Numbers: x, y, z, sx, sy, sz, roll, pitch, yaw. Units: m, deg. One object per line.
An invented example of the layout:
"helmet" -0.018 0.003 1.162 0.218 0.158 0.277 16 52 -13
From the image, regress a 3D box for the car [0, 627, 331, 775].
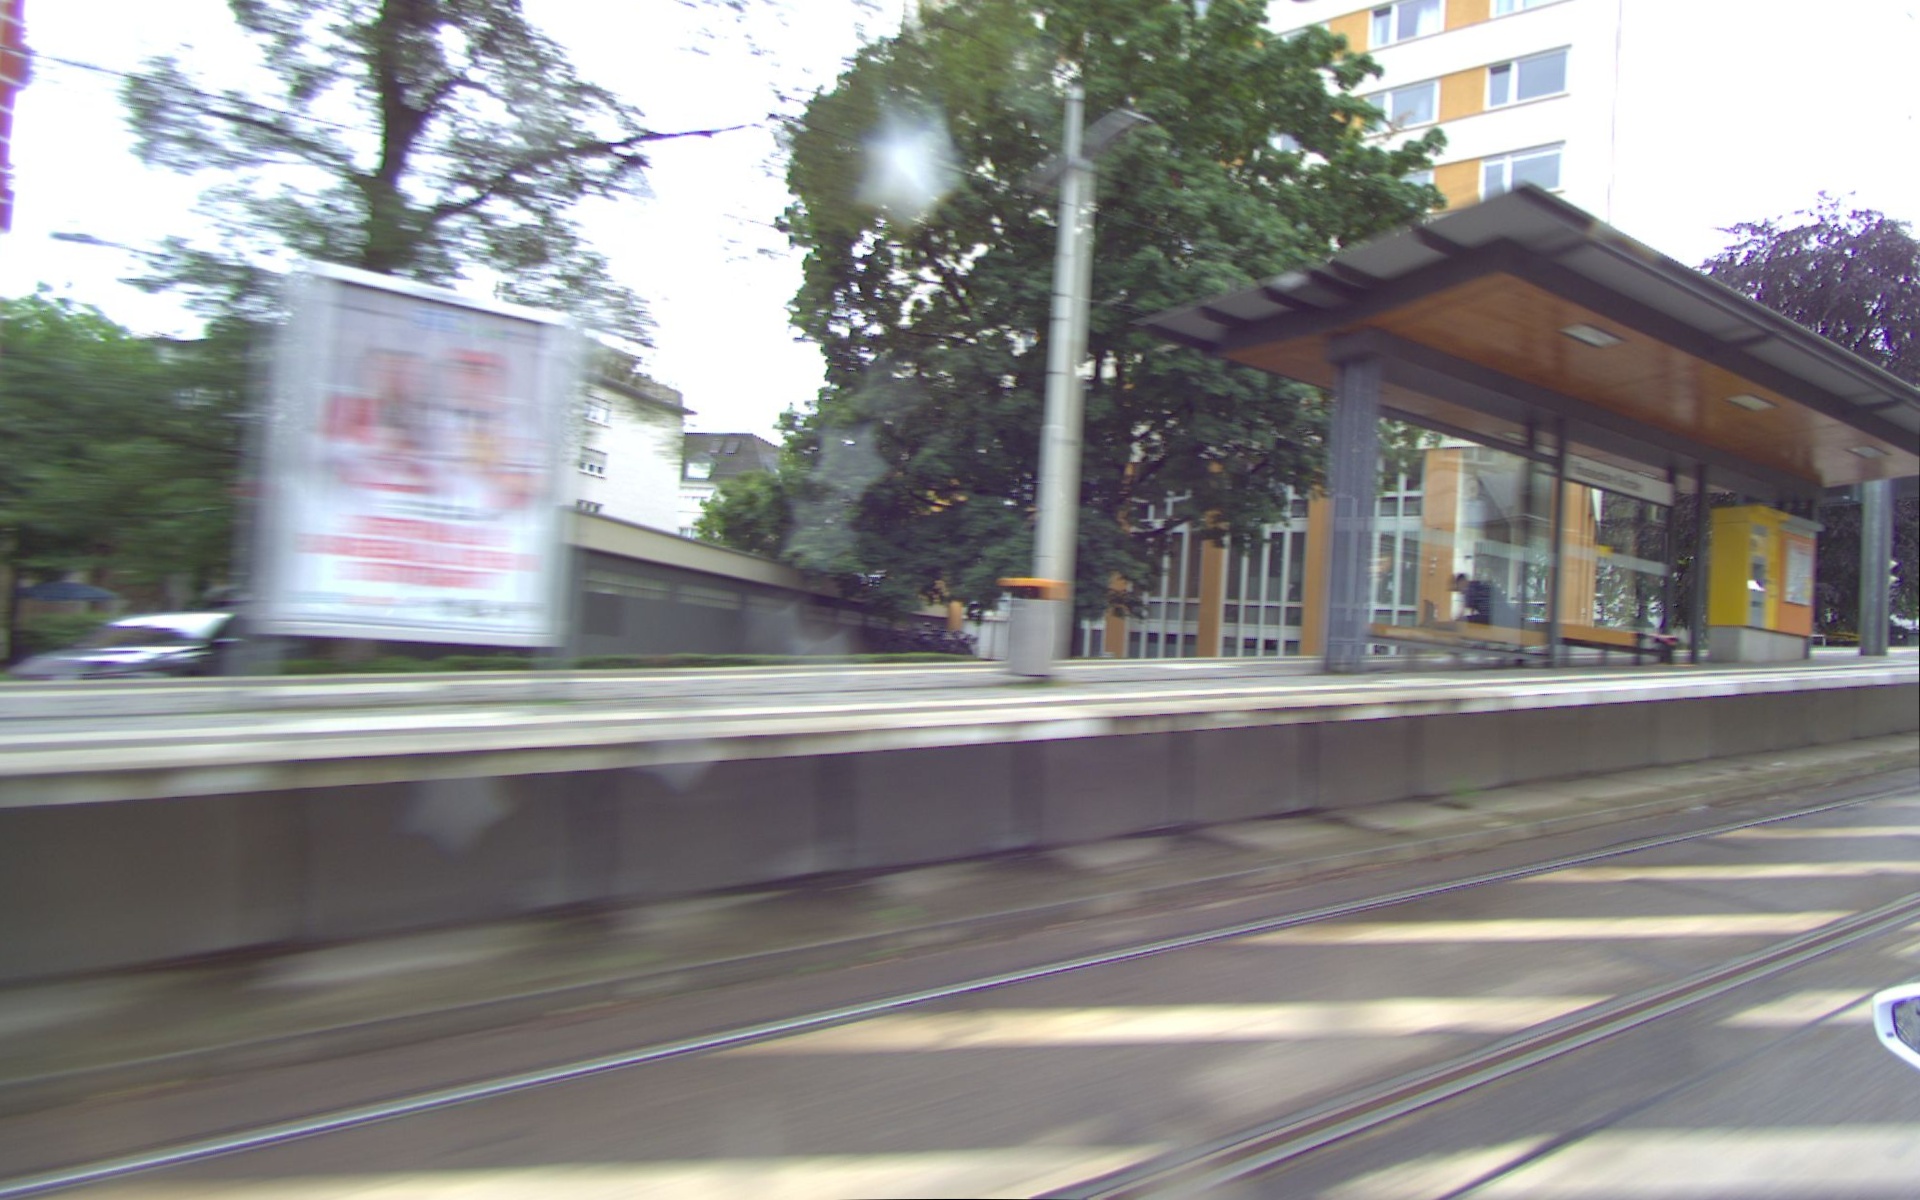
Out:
"car" -10.479 1.189 13.441 1.910 1.563 4.485 1 -1 -10

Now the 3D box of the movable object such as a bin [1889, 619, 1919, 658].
"movable object such as a bin" 37.139 1.484 39.093 1.339 1.453 1.016 1 1 -29

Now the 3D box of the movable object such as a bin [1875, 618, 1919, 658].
"movable object such as a bin" 35.876 1.452 38.336 1.288 1.453 1.016 1 1 -29
